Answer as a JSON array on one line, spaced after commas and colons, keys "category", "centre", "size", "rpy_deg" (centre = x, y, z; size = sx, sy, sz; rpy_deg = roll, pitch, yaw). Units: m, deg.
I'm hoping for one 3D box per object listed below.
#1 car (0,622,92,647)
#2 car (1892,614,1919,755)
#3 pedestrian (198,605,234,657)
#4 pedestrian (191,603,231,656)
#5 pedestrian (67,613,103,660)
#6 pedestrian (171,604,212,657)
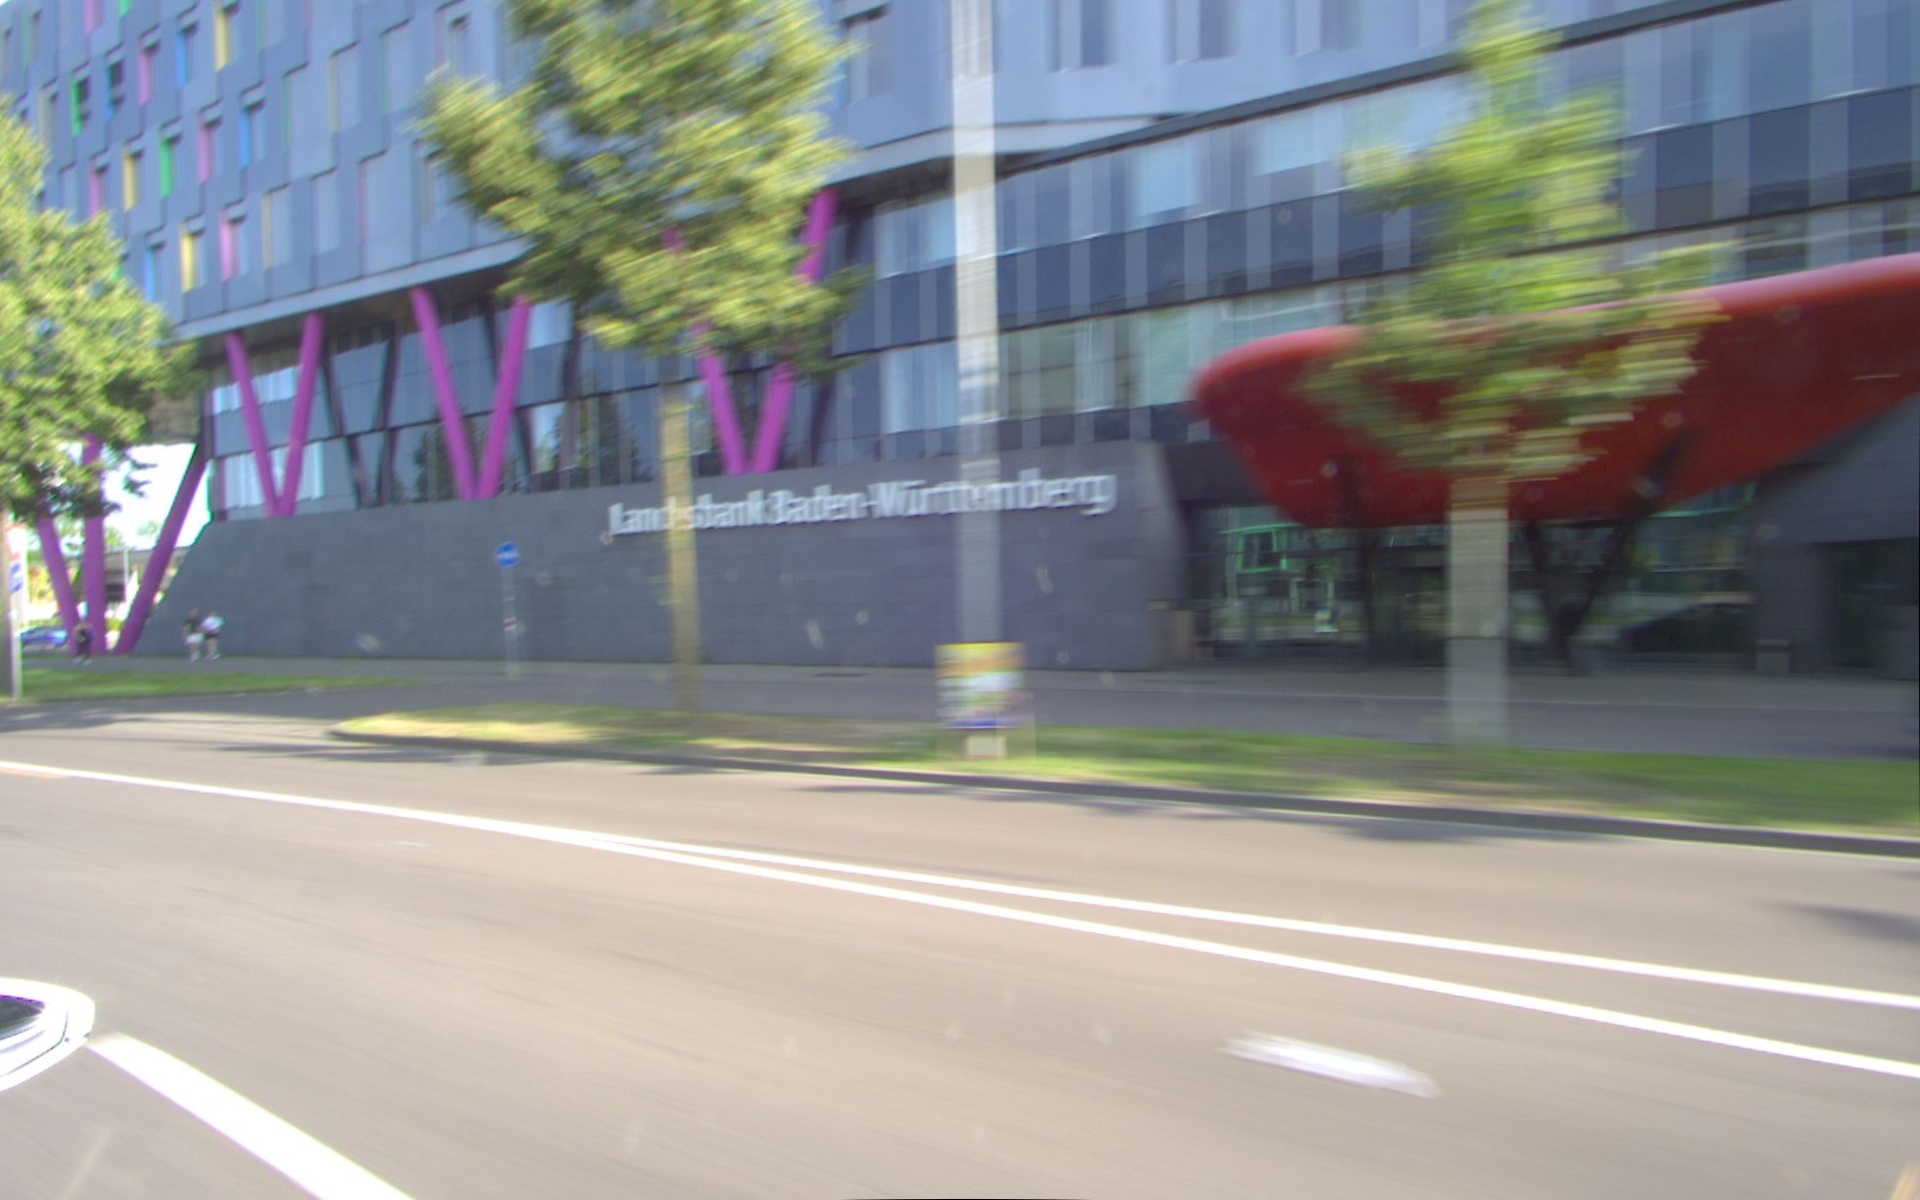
[{"category": "car", "centre": [-58.974, 2.169, 64.534], "size": [1.829, 1.443, 4.182], "rpy_deg": [0, 0, 26]}, {"category": "car", "centre": [11.478, 0.844, 9.051], "size": [4.130, 1.408, 1.691], "rpy_deg": [0, 0, 26]}, {"category": "pedestrian", "centre": [-26.701, 1.101, 35.940], "size": [0.774, 1.818, 0.656], "rpy_deg": [-1, 3, 26]}, {"category": "pedestrian", "centre": [-26.739, 1.054, 35.761], "size": [0.839, 1.850, 0.767], "rpy_deg": [-1, 2, 26]}, {"category": "pedestrian", "centre": [-31.266, 1.295, 35.782], "size": [0.725, 1.661, 0.693], "rpy_deg": [-1, 2, 26]}, {"category": "pedestrian", "centre": [-27.018, 1.074, 35.200], "size": [0.830, 1.818, 0.753], "rpy_deg": [-1, 3, 26]}]
